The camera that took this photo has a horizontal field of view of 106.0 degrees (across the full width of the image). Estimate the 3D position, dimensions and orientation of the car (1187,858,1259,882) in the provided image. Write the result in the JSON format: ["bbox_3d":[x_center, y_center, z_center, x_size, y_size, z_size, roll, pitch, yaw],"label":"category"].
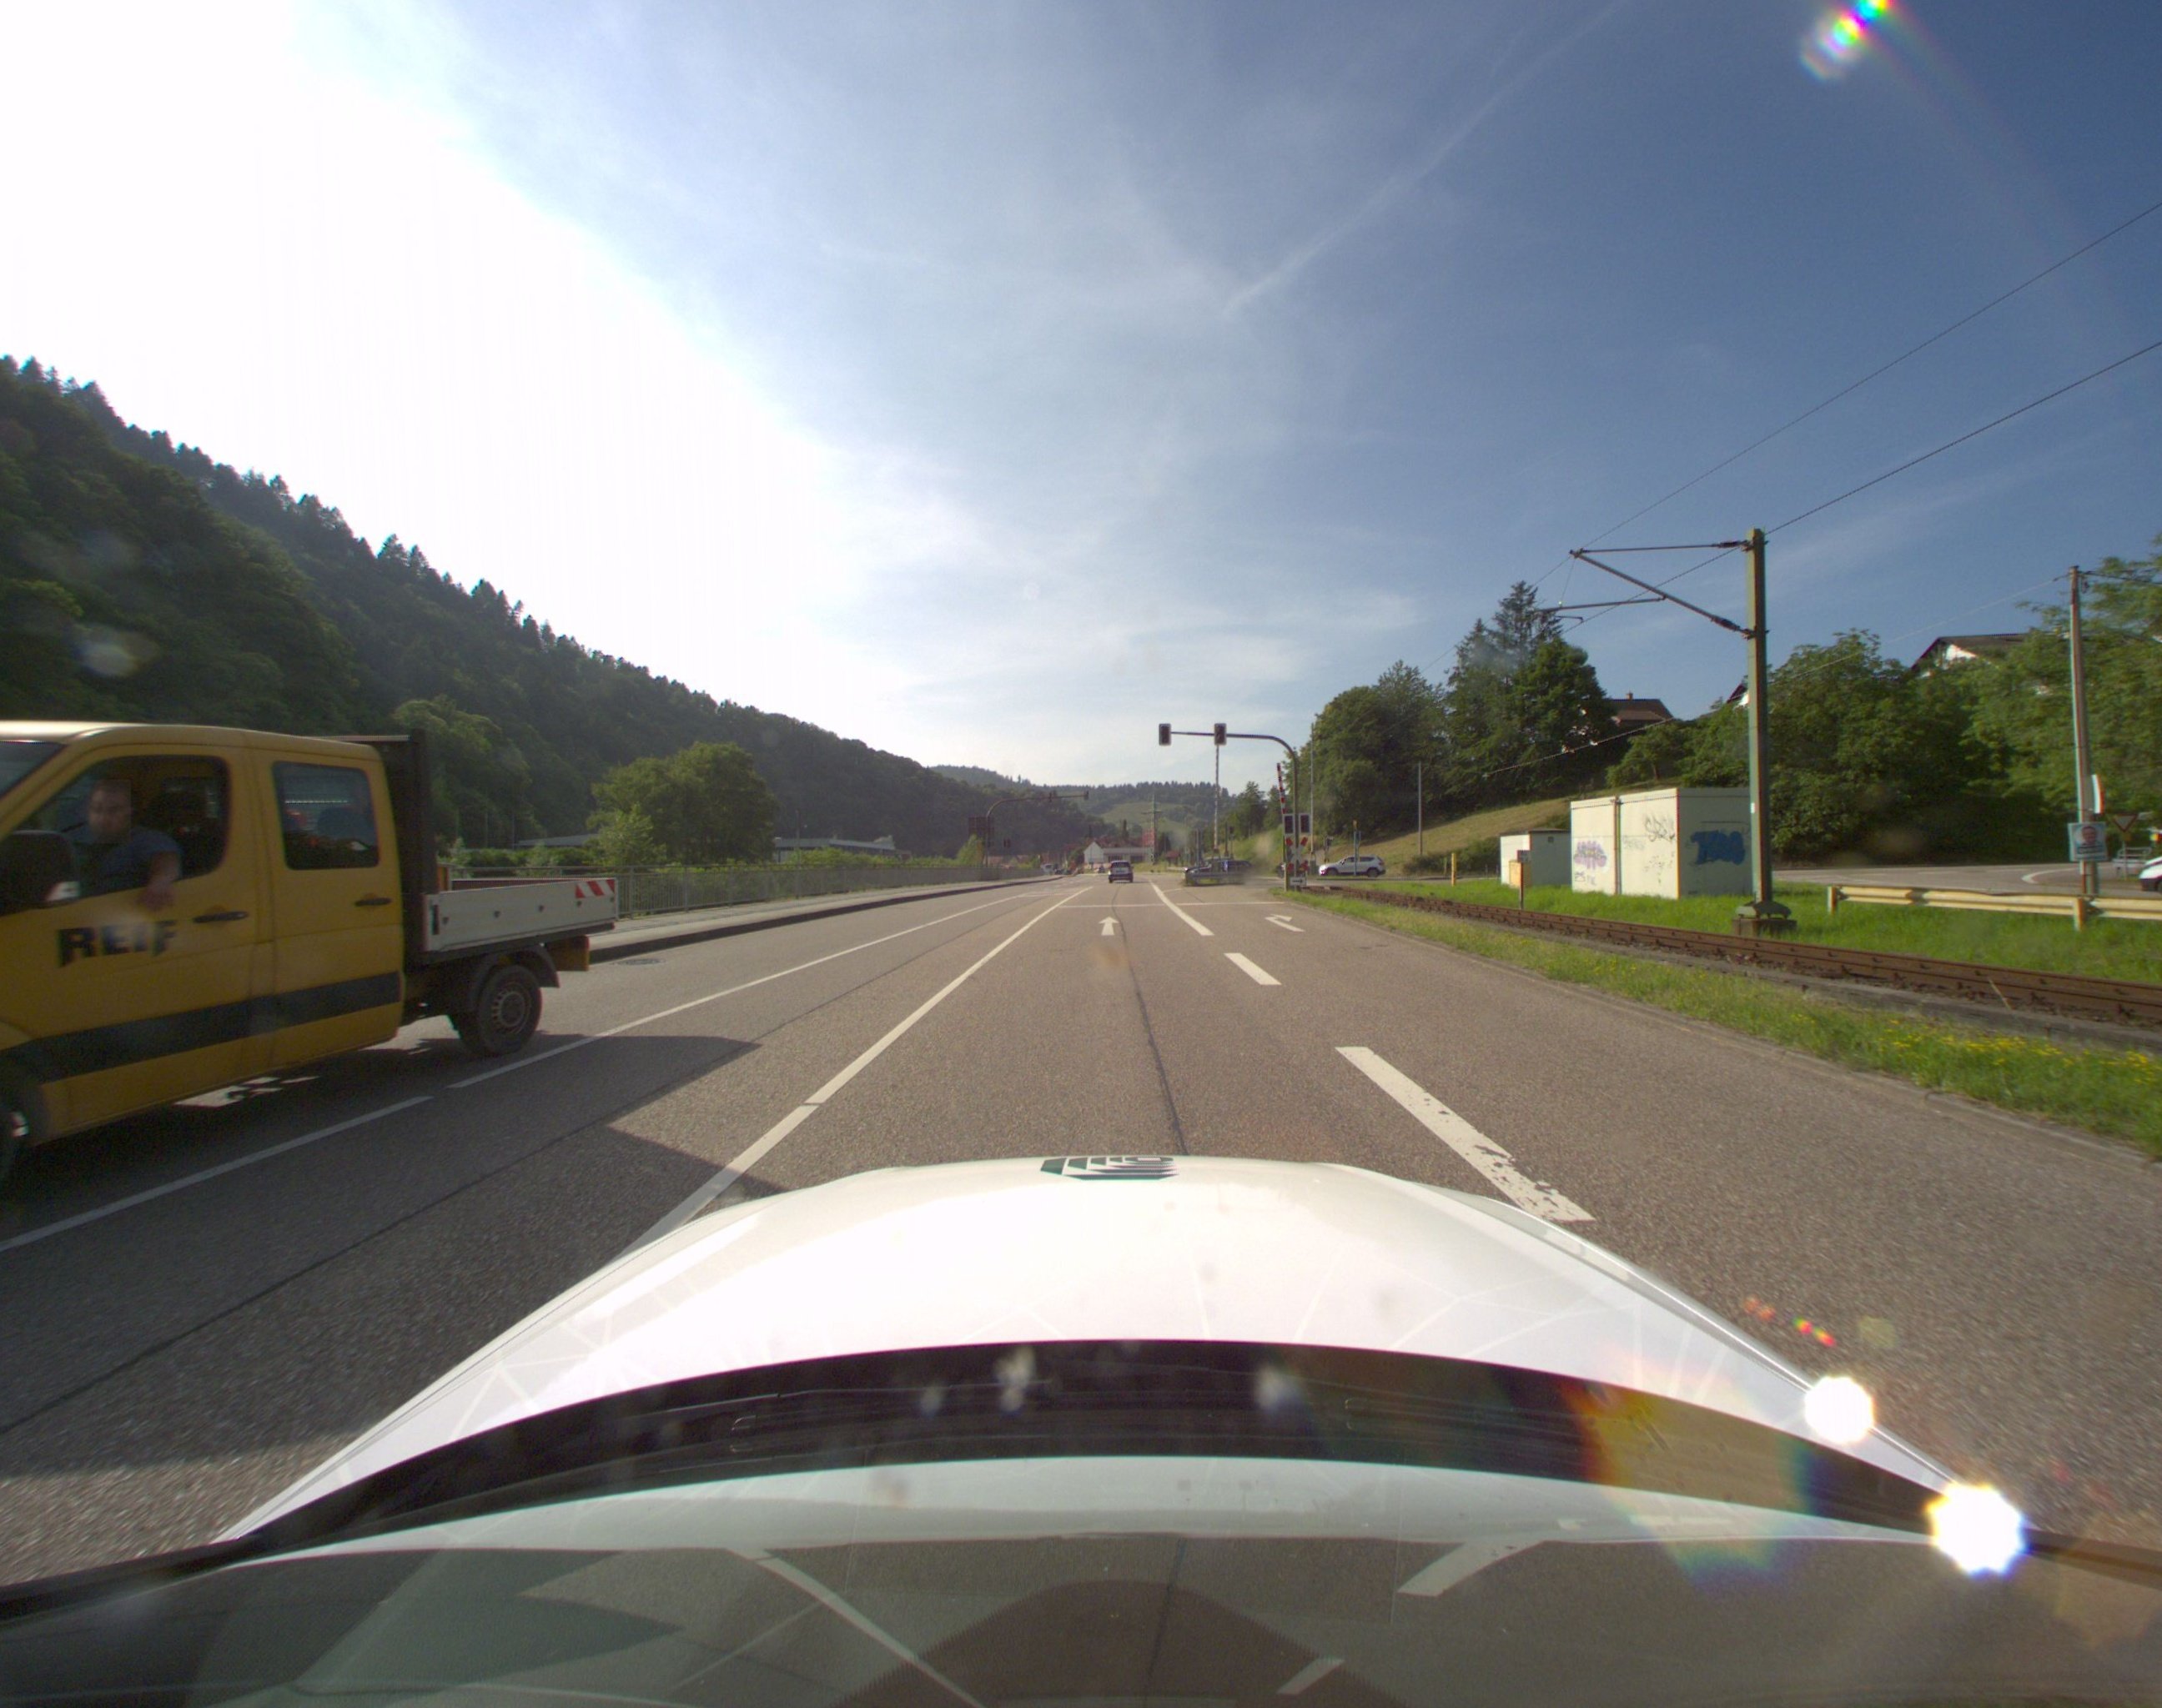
[{"bbox_3d":[9.695,1.097,55.946,4.703,1.470,1.844,-2,-1,5],"label":"car"}]

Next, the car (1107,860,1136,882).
[{"bbox_3d":[3.077,1.283,61.138,1.851,1.544,4.380,0,-2,7],"label":"car"}]

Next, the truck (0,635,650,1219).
[{"bbox_3d":[-5.449,0.314,5.185,2.156,2.387,5.856,0,0,1],"label":"truck"}]

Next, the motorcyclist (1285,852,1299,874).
[{"bbox_3d":[15.438,0.644,59.685,0.899,1.597,0.769,0,-1,20],"label":"motorcyclist"}]

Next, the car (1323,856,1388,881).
[{"bbox_3d":[18.460,0.964,54.886,4.081,1.687,1.842,0,-1,16],"label":"car"}]

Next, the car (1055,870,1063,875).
[{"bbox_3d":[-5.838,4.860,214.086,1.456,1.435,2.920,0,-1,-16],"label":"car"}]

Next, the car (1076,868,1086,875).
[{"bbox_3d":[0.036,3.830,180.686,1.456,1.435,2.920,0,-1,-16],"label":"car"}]

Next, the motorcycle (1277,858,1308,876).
[{"bbox_3d":[15.490,0.955,59.661,2.075,1.254,0.803,0,-1,21],"label":"motorcycle"}]

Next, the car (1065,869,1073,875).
[{"bbox_3d":[-2.977,4.389,195.810,1.235,1.435,2.626,-2,0,-16],"label":"car"}]

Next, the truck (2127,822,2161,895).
[{"bbox_3d":[34.139,0.014,22.595,2.393,2.233,5.932,-2,-2,-2],"label":"truck"}]
